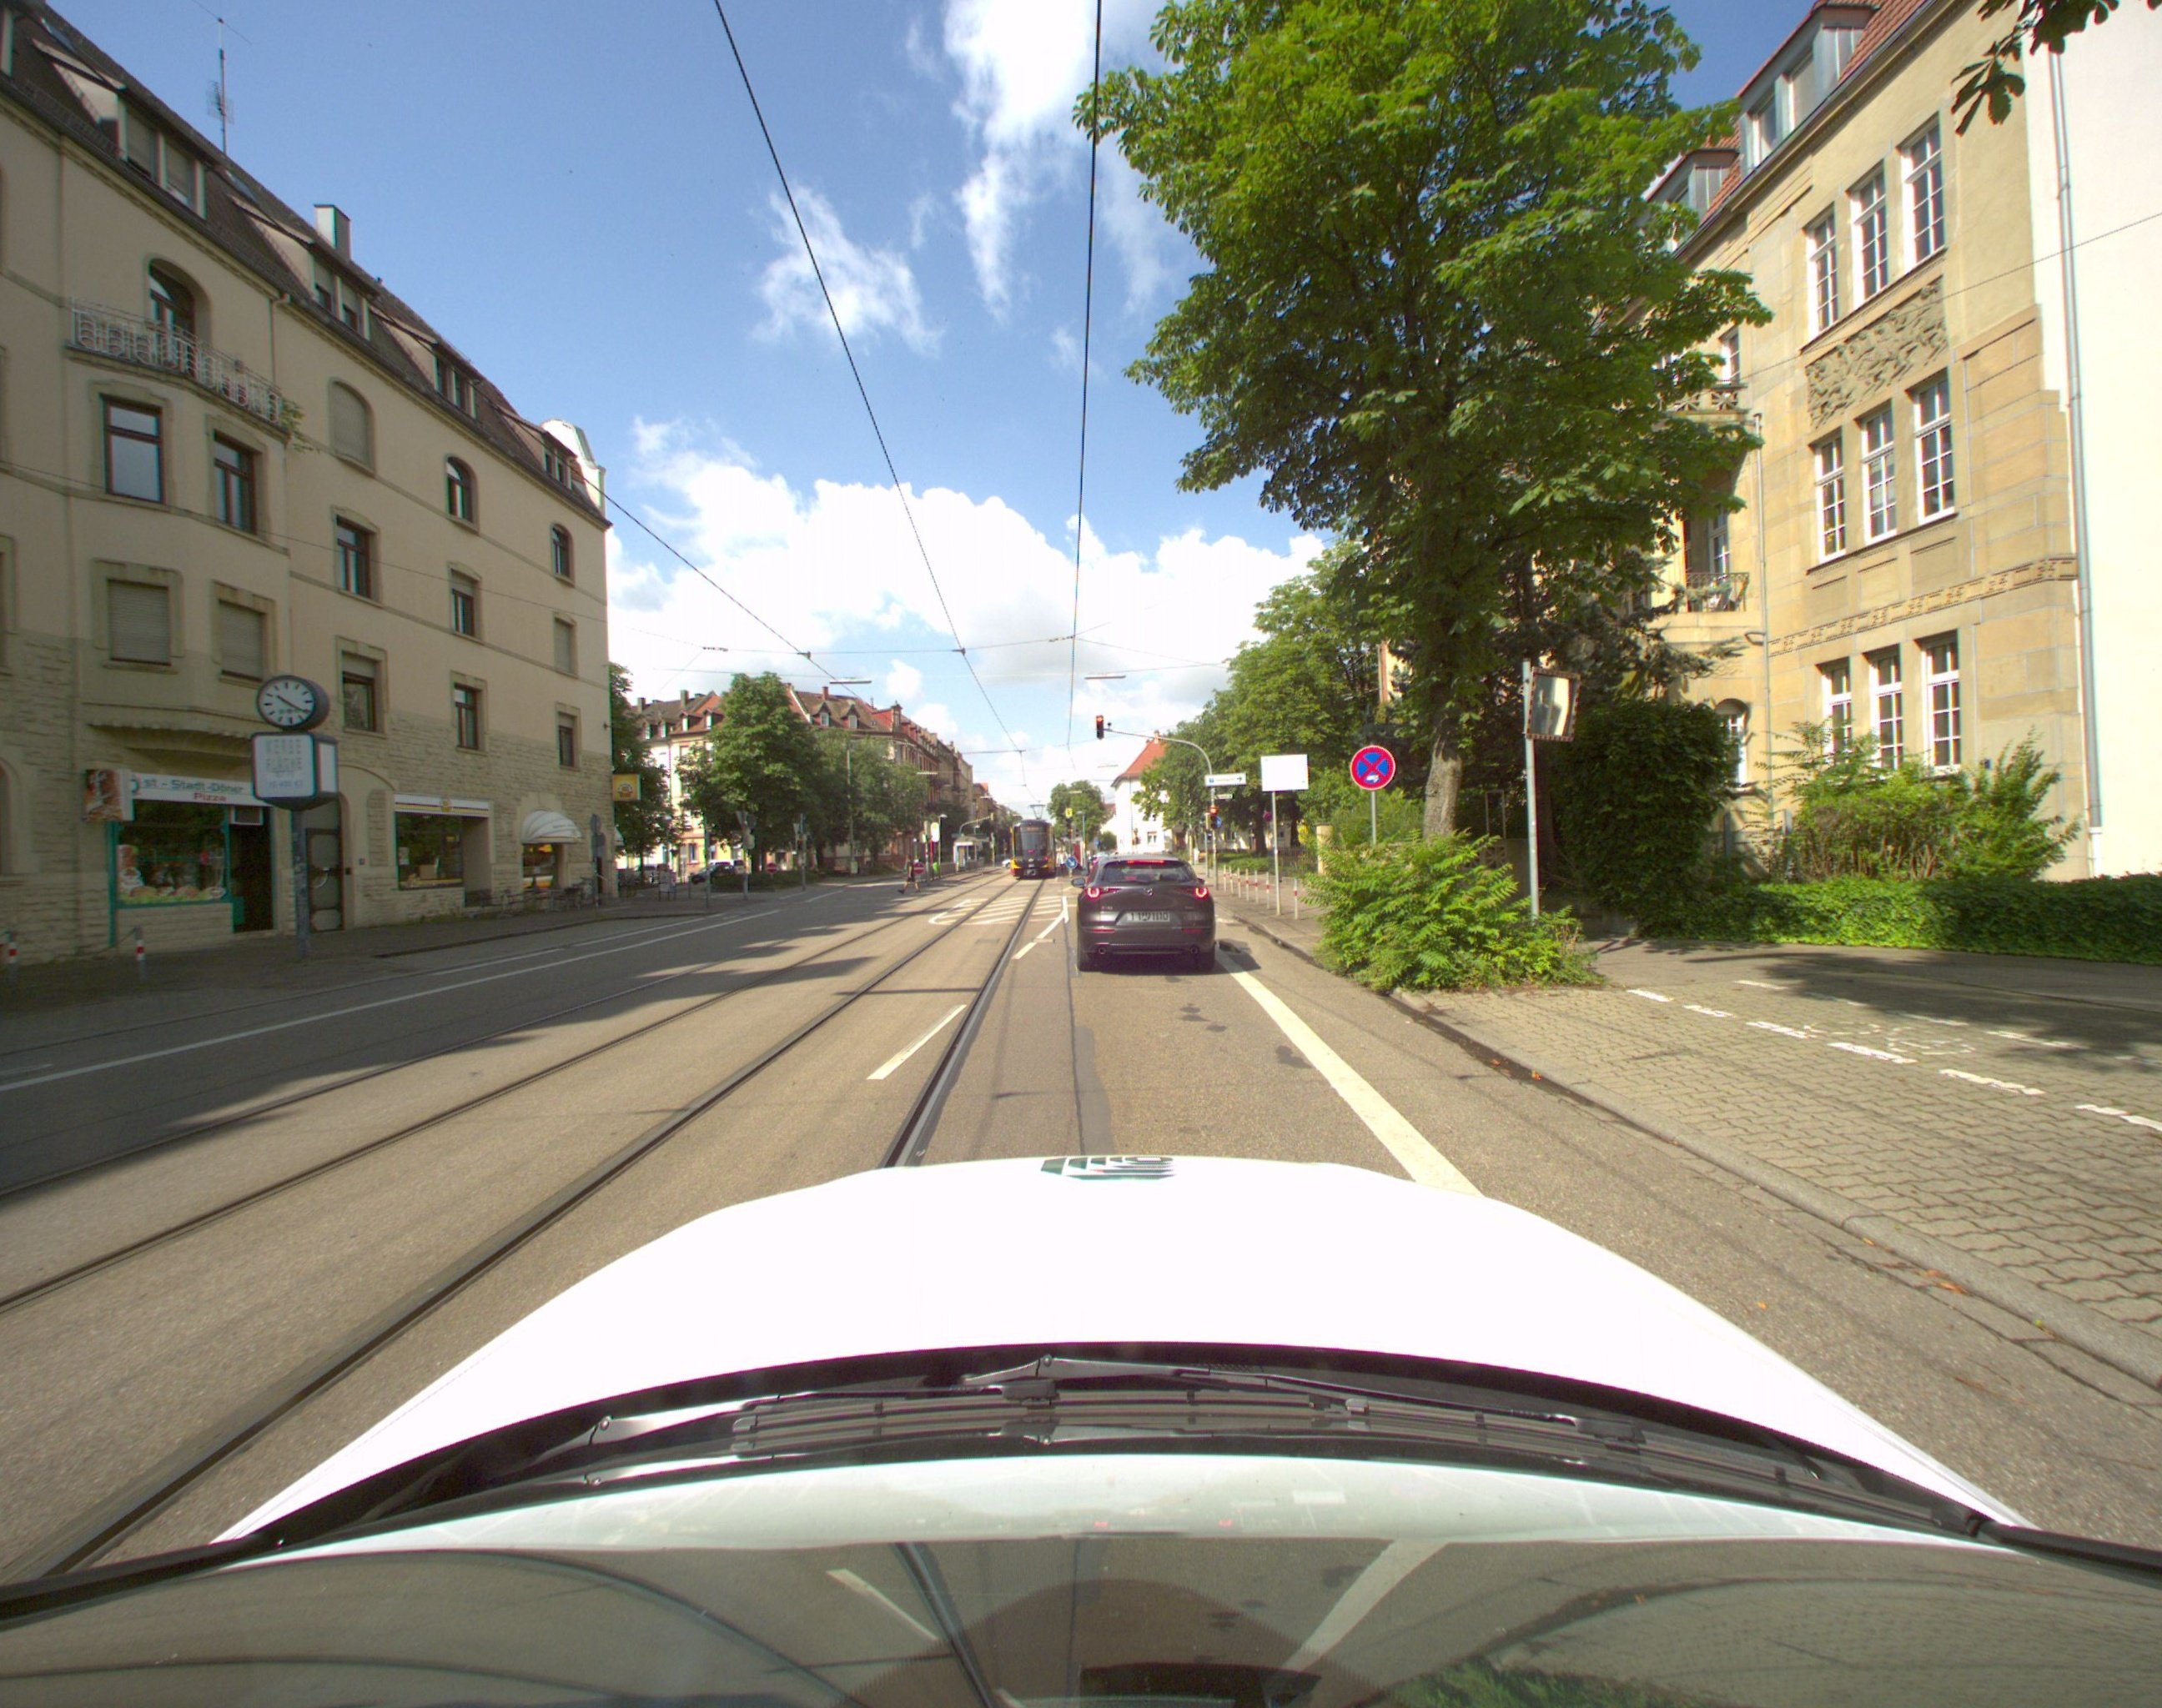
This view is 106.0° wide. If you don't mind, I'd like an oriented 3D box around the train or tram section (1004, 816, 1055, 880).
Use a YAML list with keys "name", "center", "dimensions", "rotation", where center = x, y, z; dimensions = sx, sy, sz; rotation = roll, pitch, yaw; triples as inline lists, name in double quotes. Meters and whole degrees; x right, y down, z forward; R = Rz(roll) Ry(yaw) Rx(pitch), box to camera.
- name: "train or tram section"
  center: [-3.119, -0.458, 53.073]
  dimensions: [2.745, 3.490, 14.398]
  rotation: [-2, 1, -2]

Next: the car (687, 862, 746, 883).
- name: "car"
  center: [-29.758, 1.489, 66.463]
  dimensions: [4.088, 1.518, 1.741]
  rotation: [-2, 0, -38]

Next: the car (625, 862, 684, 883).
- name: "car"
  center: [-36.948, 1.595, 70.571]
  dimensions: [3.971, 1.596, 2.001]
  rotation: [-2, 0, 2]

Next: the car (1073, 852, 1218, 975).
- name: "car"
  center: [0.846, 0.719, 11.951]
  dimensions: [1.772, 1.499, 4.002]
  rotation: [0, 0, 2]

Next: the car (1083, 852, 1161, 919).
- name: "car"
  center: [0.988, 0.712, 20.561]
  dimensions: [1.772, 1.499, 4.002]
  rotation: [0, 0, 2]

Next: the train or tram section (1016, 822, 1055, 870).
- name: "train or tram section"
  center: [-3.575, -0.704, 67.444]
  dimensions: [2.745, 3.490, 14.398]
  rotation: [-2, 1, -2]

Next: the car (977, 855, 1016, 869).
- name: "car"
  center: [-9.231, 0.891, 89.084]
  dimensions: [3.972, 1.360, 1.679]
  rotation: [-2, 0, 1]

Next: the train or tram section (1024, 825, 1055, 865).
- name: "train or tram section"
  center: [-4.028, -0.948, 81.845]
  dimensions: [2.745, 3.490, 14.398]
  rotation: [-2, 1, -2]

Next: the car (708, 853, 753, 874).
- name: "car"
  center: [-35.865, 0.973, 83.340]
  dimensions: [3.950, 1.903, 2.012]
  rotation: [-2, 0, 26]

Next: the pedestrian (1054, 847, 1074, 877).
- name: "pedestrian"
  center: [-0.966, 0.447, 46.488]
  dimensions: [0.813, 1.705, 0.723]
  rotation: [-2, 0, 42]

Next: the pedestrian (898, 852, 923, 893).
- name: "pedestrian"
  center: [-7.199, 0.771, 34.396]
  dimensions: [0.746, 1.684, 0.702]
  rotation: [-2, 0, 11]
